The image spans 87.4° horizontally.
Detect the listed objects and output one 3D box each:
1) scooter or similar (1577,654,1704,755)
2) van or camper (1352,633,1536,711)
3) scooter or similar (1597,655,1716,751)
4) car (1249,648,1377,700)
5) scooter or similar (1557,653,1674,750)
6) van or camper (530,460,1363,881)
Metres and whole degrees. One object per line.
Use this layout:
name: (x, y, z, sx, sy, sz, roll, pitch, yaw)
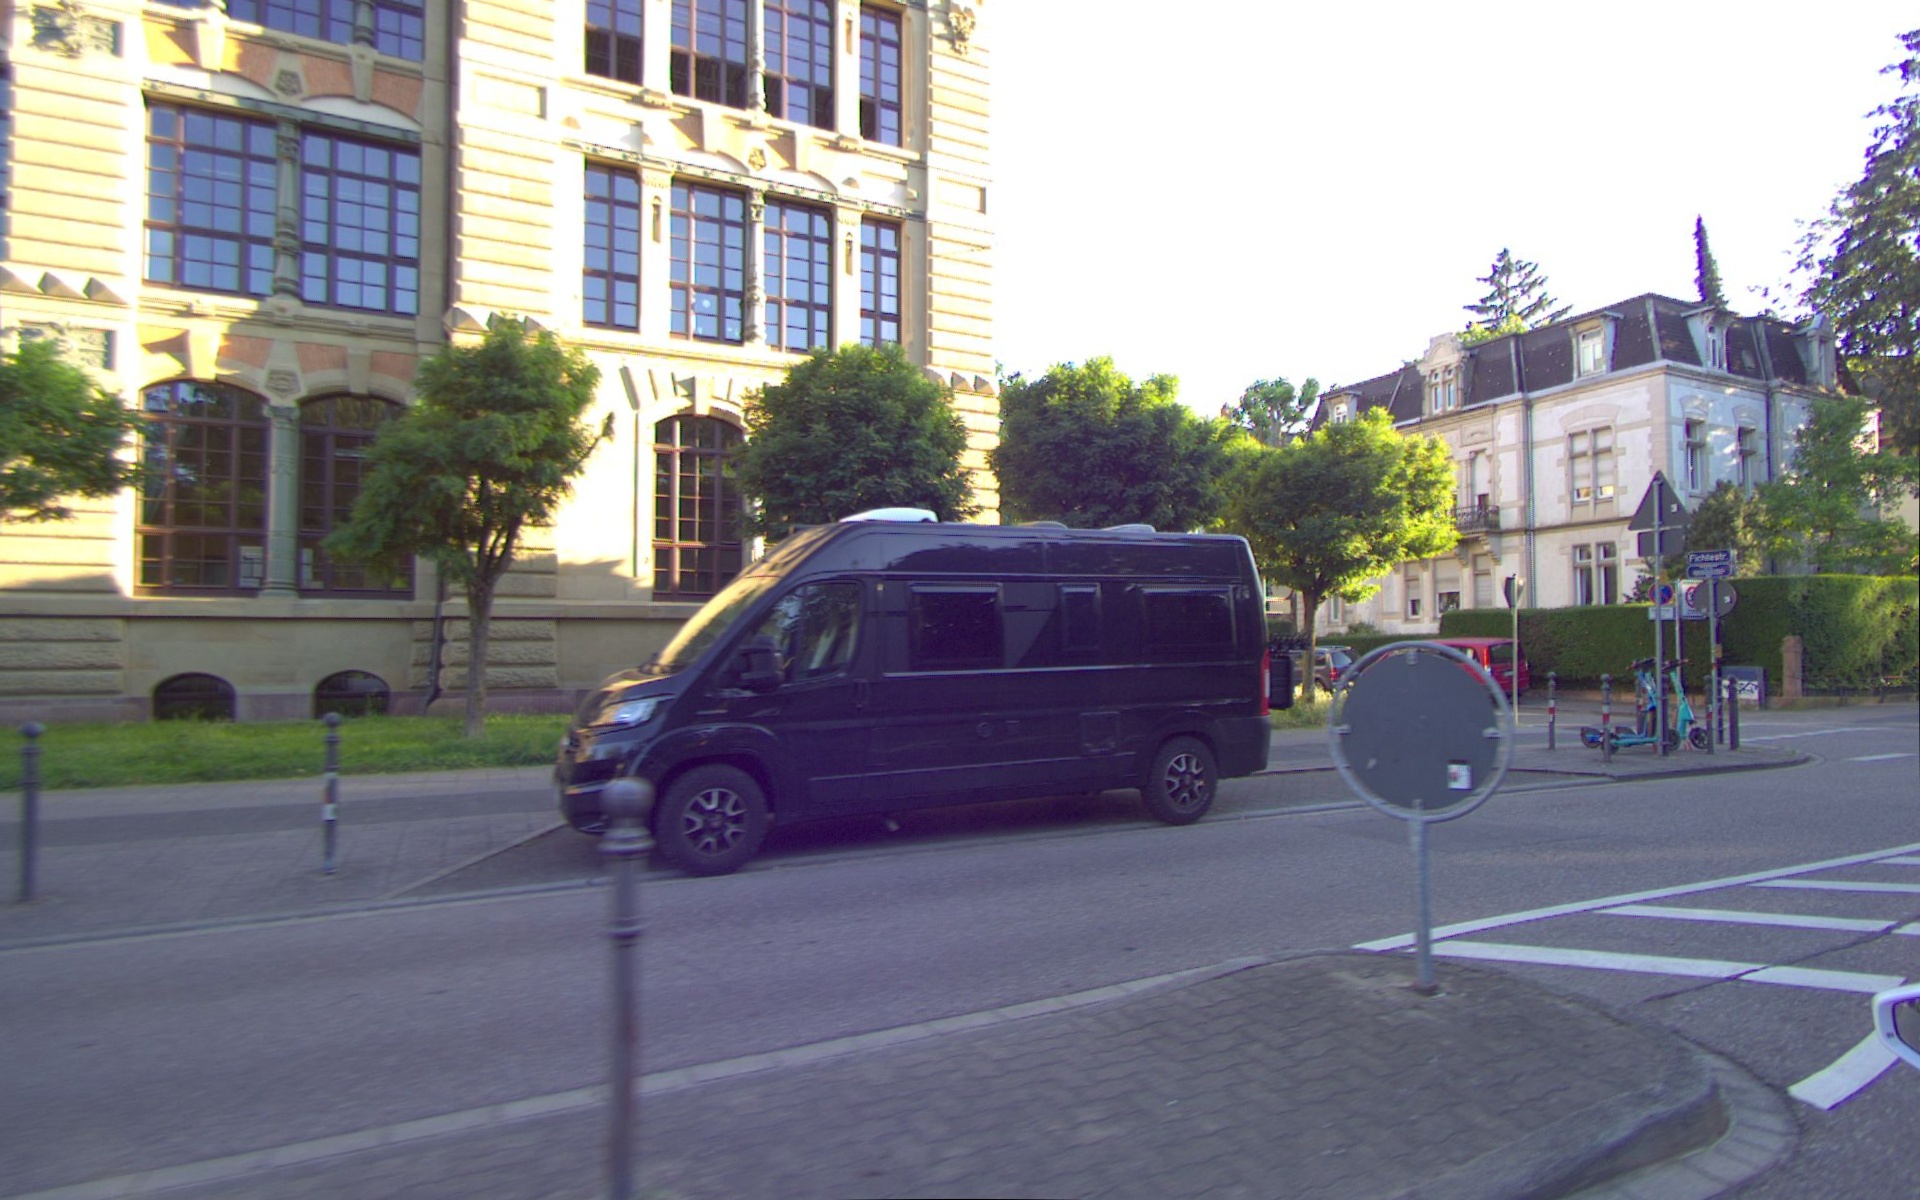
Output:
scooter or similar: (9.050, 1.376, 13.384, 1.317, 1.291, 0.432, 0, -2, 10)
van or camper: (14.384, 2.105, 30.168, 1.972, 2.012, 4.759, -4, -1, -23)
scooter or similar: (9.815, 1.431, 14.207, 1.320, 1.291, 0.431, -1, -3, 29)
car: (12.116, 2.500, 34.685, 1.895, 1.695, 3.974, 1, -3, -27)
scooter or similar: (9.139, 1.400, 14.053, 1.320, 1.291, 0.431, -1, -3, 29)
van or camper: (0.136, 0.540, 8.738, 6.988, 2.578, 2.222, 2, -2, -27)
